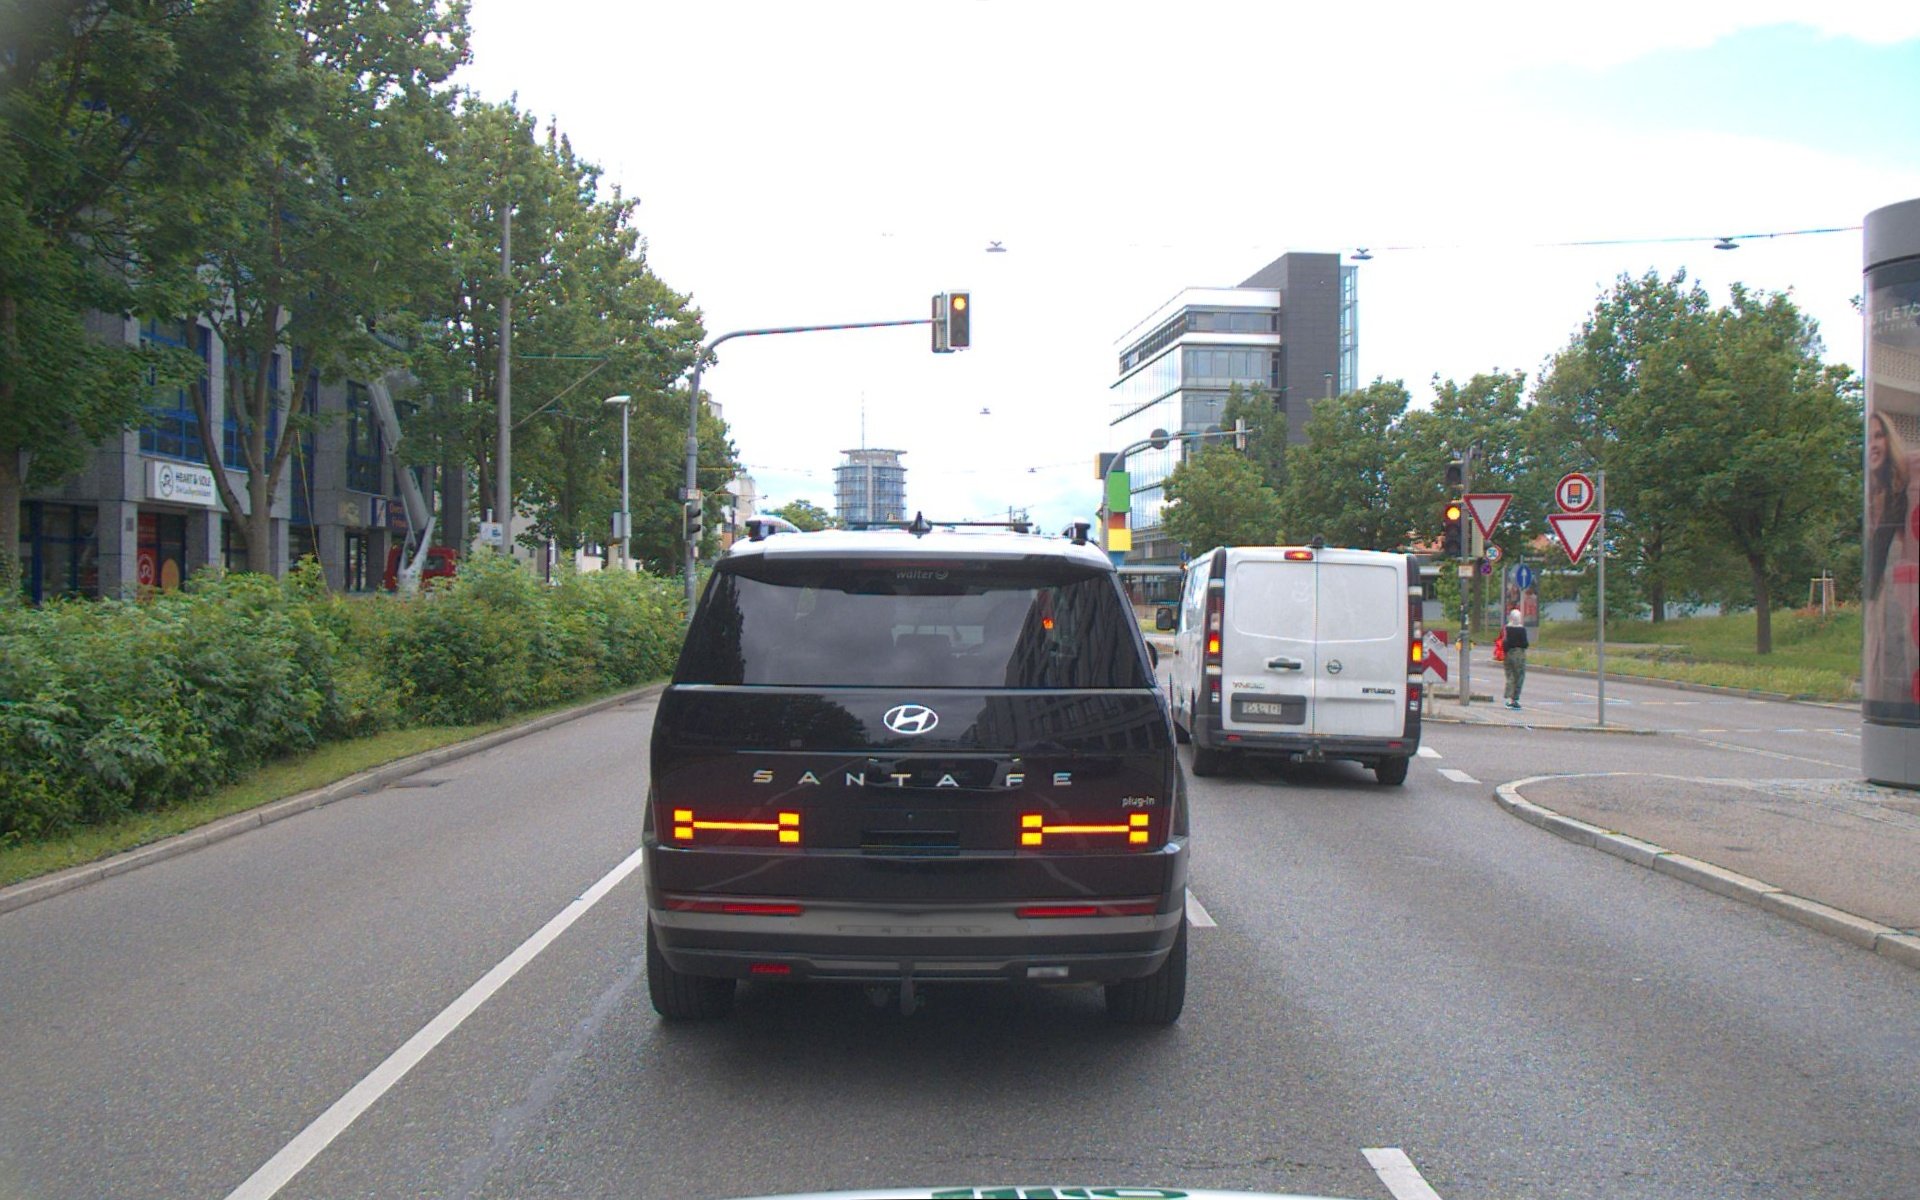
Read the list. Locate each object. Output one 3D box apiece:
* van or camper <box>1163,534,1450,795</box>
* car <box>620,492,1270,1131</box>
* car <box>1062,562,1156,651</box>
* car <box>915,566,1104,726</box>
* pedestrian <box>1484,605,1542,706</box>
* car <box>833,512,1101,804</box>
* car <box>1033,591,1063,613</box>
[{"bbox_3d":[3.034,0.501,15.477,1.952,2.049,4.654,1,0,3],"label":"van or camper"},{"bbox_3d":[-0.065,0.585,6.599,1.831,1.791,3.879,0,0,-1],"label":"car"},{"bbox_3d":[3.595,0.171,40.609,1.952,2.049,4.000,1,0,0],"label":"car"},{"bbox_3d":[0.726,0.521,20.481,1.738,1.747,4.342,1,0,10],"label":"car"},{"bbox_3d":[9.035,0.897,27.021,0.733,1.612,0.565,2,0,-41],"label":"pedestrian"},{"bbox_3d":[0.022,0.397,13.503,1.876,2.038,3.879,0,0,-1],"label":"car"},{"bbox_3d":[7.006,0.148,131.903,1.954,1.713,3.997,1,0,-3],"label":"car"}]
